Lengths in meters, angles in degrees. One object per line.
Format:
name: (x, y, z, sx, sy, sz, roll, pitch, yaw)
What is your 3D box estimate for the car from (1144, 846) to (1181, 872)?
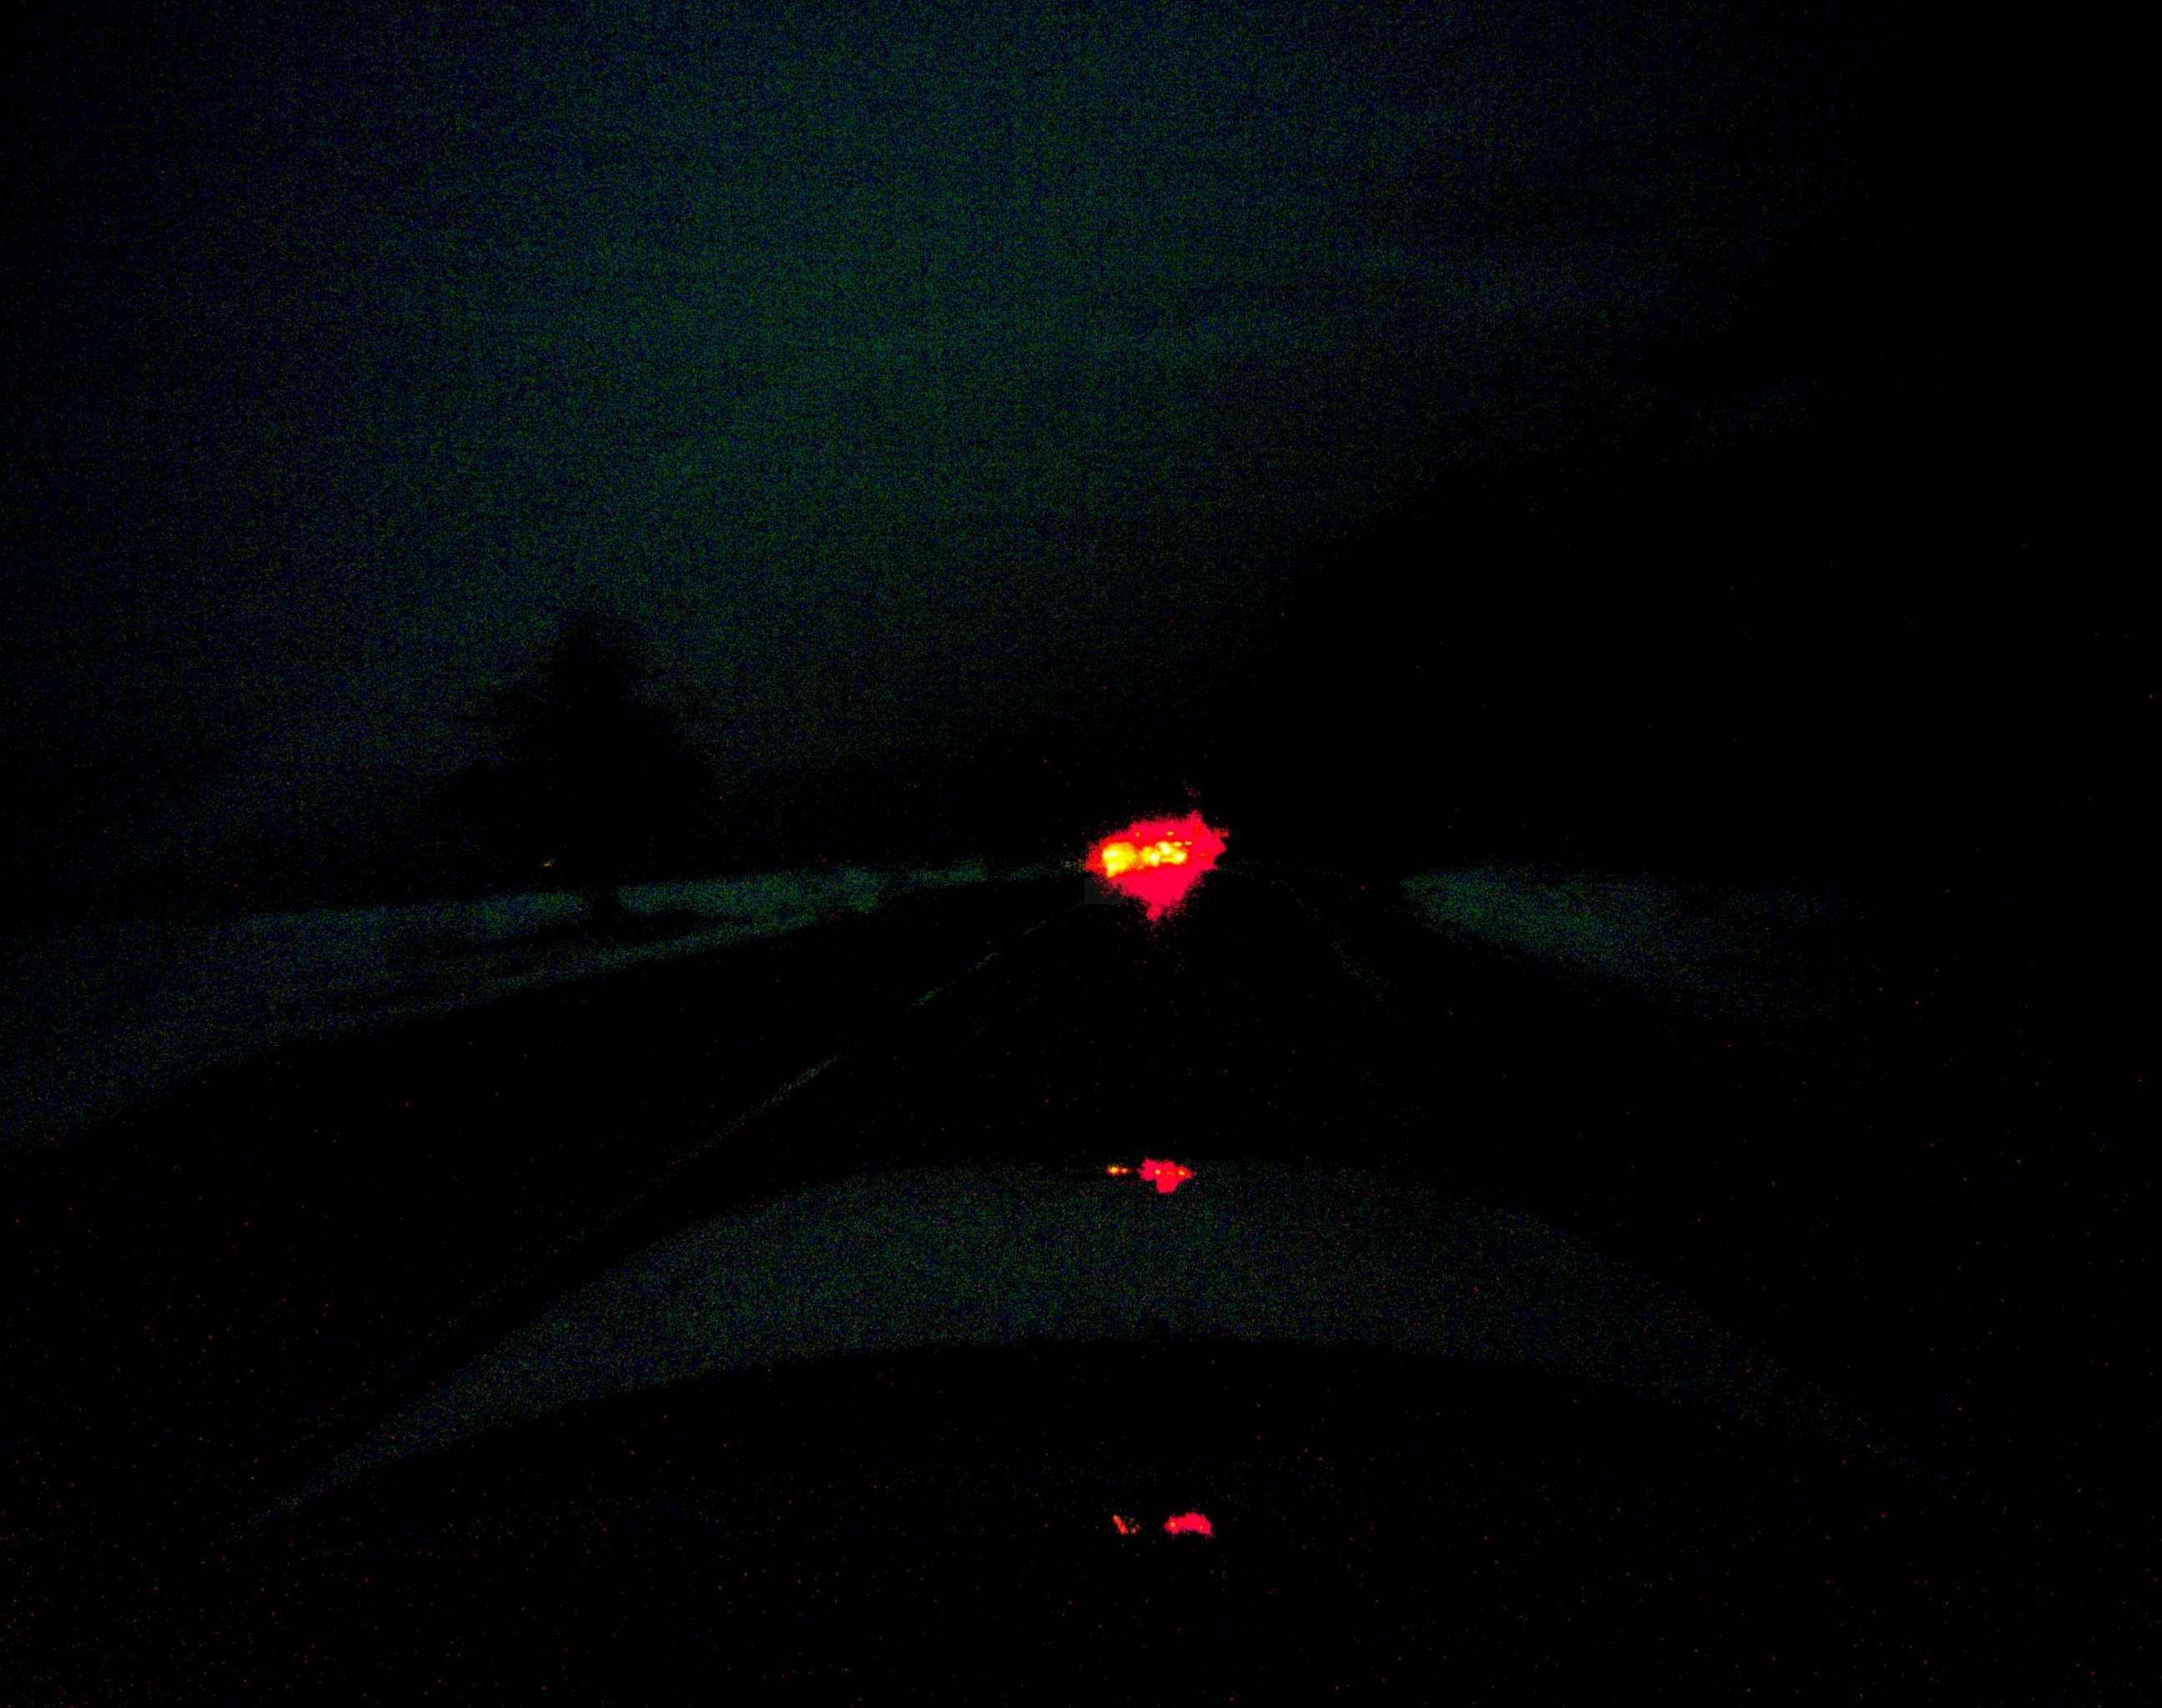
car: (4.551, 0.234, 45.647, 1.913, 1.276, 4.006, -1, 2, 5)

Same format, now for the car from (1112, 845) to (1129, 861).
car: (4.389, -0.132, 91.004, 1.746, 1.693, 4.426, -3, 0, 0)
